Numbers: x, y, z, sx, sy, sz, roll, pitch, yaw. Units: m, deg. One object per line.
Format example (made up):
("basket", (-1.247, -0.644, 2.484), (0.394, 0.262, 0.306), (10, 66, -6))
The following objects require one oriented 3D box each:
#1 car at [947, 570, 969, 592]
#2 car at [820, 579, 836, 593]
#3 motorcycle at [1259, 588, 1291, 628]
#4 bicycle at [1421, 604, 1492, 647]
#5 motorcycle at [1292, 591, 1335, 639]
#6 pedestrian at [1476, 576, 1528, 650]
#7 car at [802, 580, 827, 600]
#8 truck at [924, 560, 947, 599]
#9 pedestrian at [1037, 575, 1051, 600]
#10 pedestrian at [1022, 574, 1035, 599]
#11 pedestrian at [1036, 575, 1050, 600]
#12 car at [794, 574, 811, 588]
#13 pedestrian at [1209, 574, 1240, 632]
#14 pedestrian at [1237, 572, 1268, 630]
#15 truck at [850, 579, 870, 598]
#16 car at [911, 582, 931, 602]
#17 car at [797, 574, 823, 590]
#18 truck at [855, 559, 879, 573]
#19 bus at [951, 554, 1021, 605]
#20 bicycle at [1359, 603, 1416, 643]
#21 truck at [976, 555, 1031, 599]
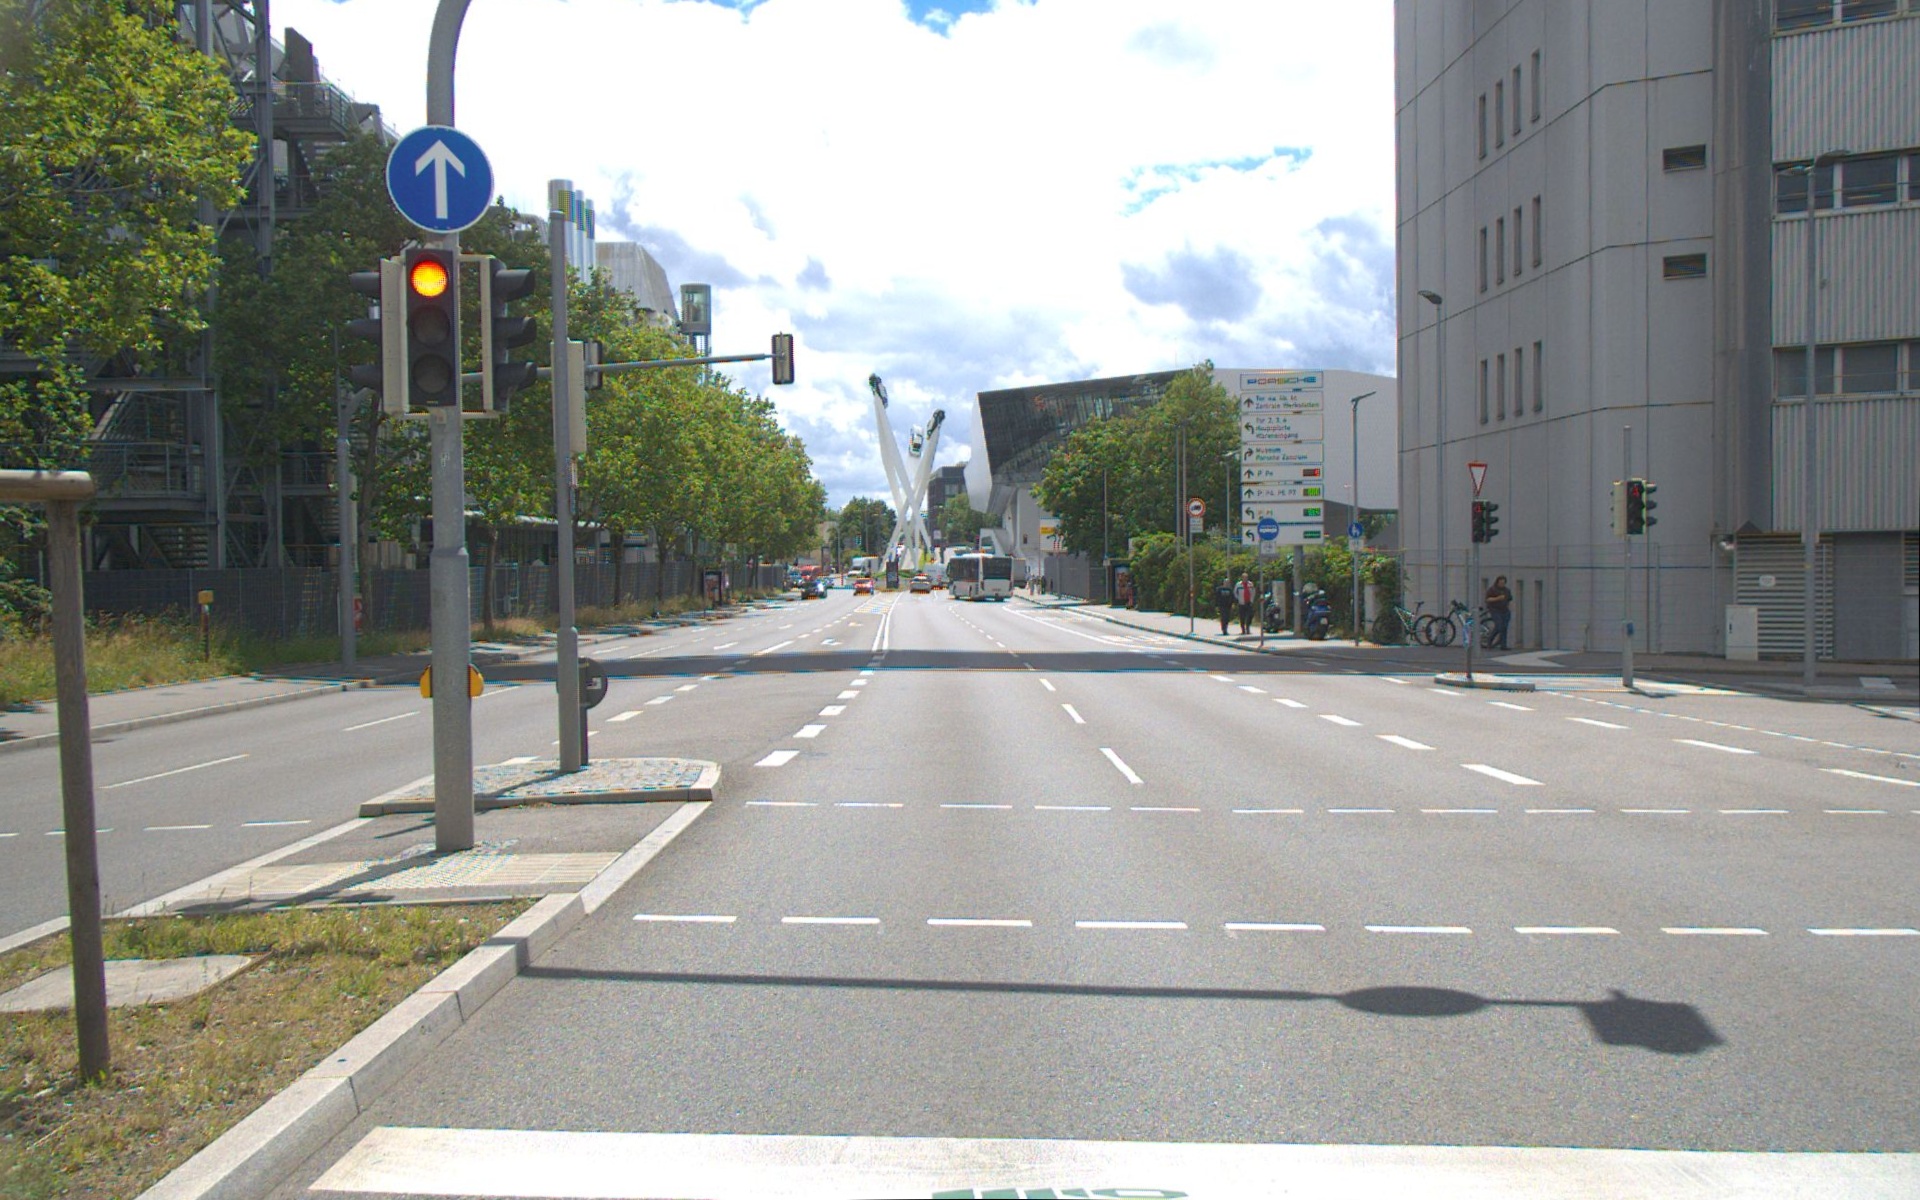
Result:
("car", (-0.176, -1.899, 165.590), (1.952, 2.049, 4.001), (1, -1, 3))
("car", (-14.981, -1.611, 188.031), (1.783, 1.564, 3.675), (-2, 0, -5))
("motorcycle", (10.059, 0.236, 52.888), (0.562, 1.224, 2.024), (-2, 1, -1))
("bicycle", (11.644, 0.583, 38.843), (0.392, 0.953, 1.912), (0, 0, -26))
("motorcycle", (9.612, 0.381, 45.022), (0.692, 1.224, 2.024), (-2, 1, -1))
("pedestrian", (12.331, 0.284, 37.650), (0.834, 1.653, 0.951), (0, 0, 40))
("car", (-11.956, -0.854, 136.140), (1.782, 1.564, 3.677), (-2, 0, -2))
("truck", (-2.548, -2.091, 172.085), (2.343, 3.965, 6.176), (0, 0, -1))
("pedestrian", (7.073, -1.036, 139.105), (1.008, 2.049, 0.883), (1, -1, -5))
("pedestrian", (5.717, -1.096, 138.297), (1.008, 2.049, 0.883), (1, -1, -5))
("pedestrian", (6.906, -1.032, 138.147), (1.008, 2.049, 0.883), (1, -1, -5))
("car", (-18.673, -2.266, 196.300), (1.782, 1.564, 3.676), (-2, 0, -3))
("pedestrian", (8.087, 0.085, 50.561), (0.803, 1.737, 0.881), (0, 0, -1))
("pedestrian", (8.946, 0.020, 50.590), (0.803, 1.772, 0.637), (0, 0, -1))
("truck", (-8.583, -0.972, 142.271), (1.553, 1.564, 3.673), (0, 0, -6))
("car", (-3.478, -0.710, 148.650), (1.703, 1.772, 3.691), (0, 0, -1))
("car", (-19.771, -2.358, 217.934), (1.952, 2.049, 4.001), (0, 0, 19))
("truck", (-13.346, -4.855, 236.458), (1.723, 2.049, 4.443), (0, 0, 22))
("bus", (1.819, -1.469, 121.679), (3.389, 3.605, 10.583), (0, 0, -9))
("bicycle", (10.610, 0.550, 41.114), (0.391, 0.953, 1.917), (0, 0, -19))
("truck", (4.576, -2.344, 171.735), (3.379, 4.468, 9.426), (0, 0, 17))
